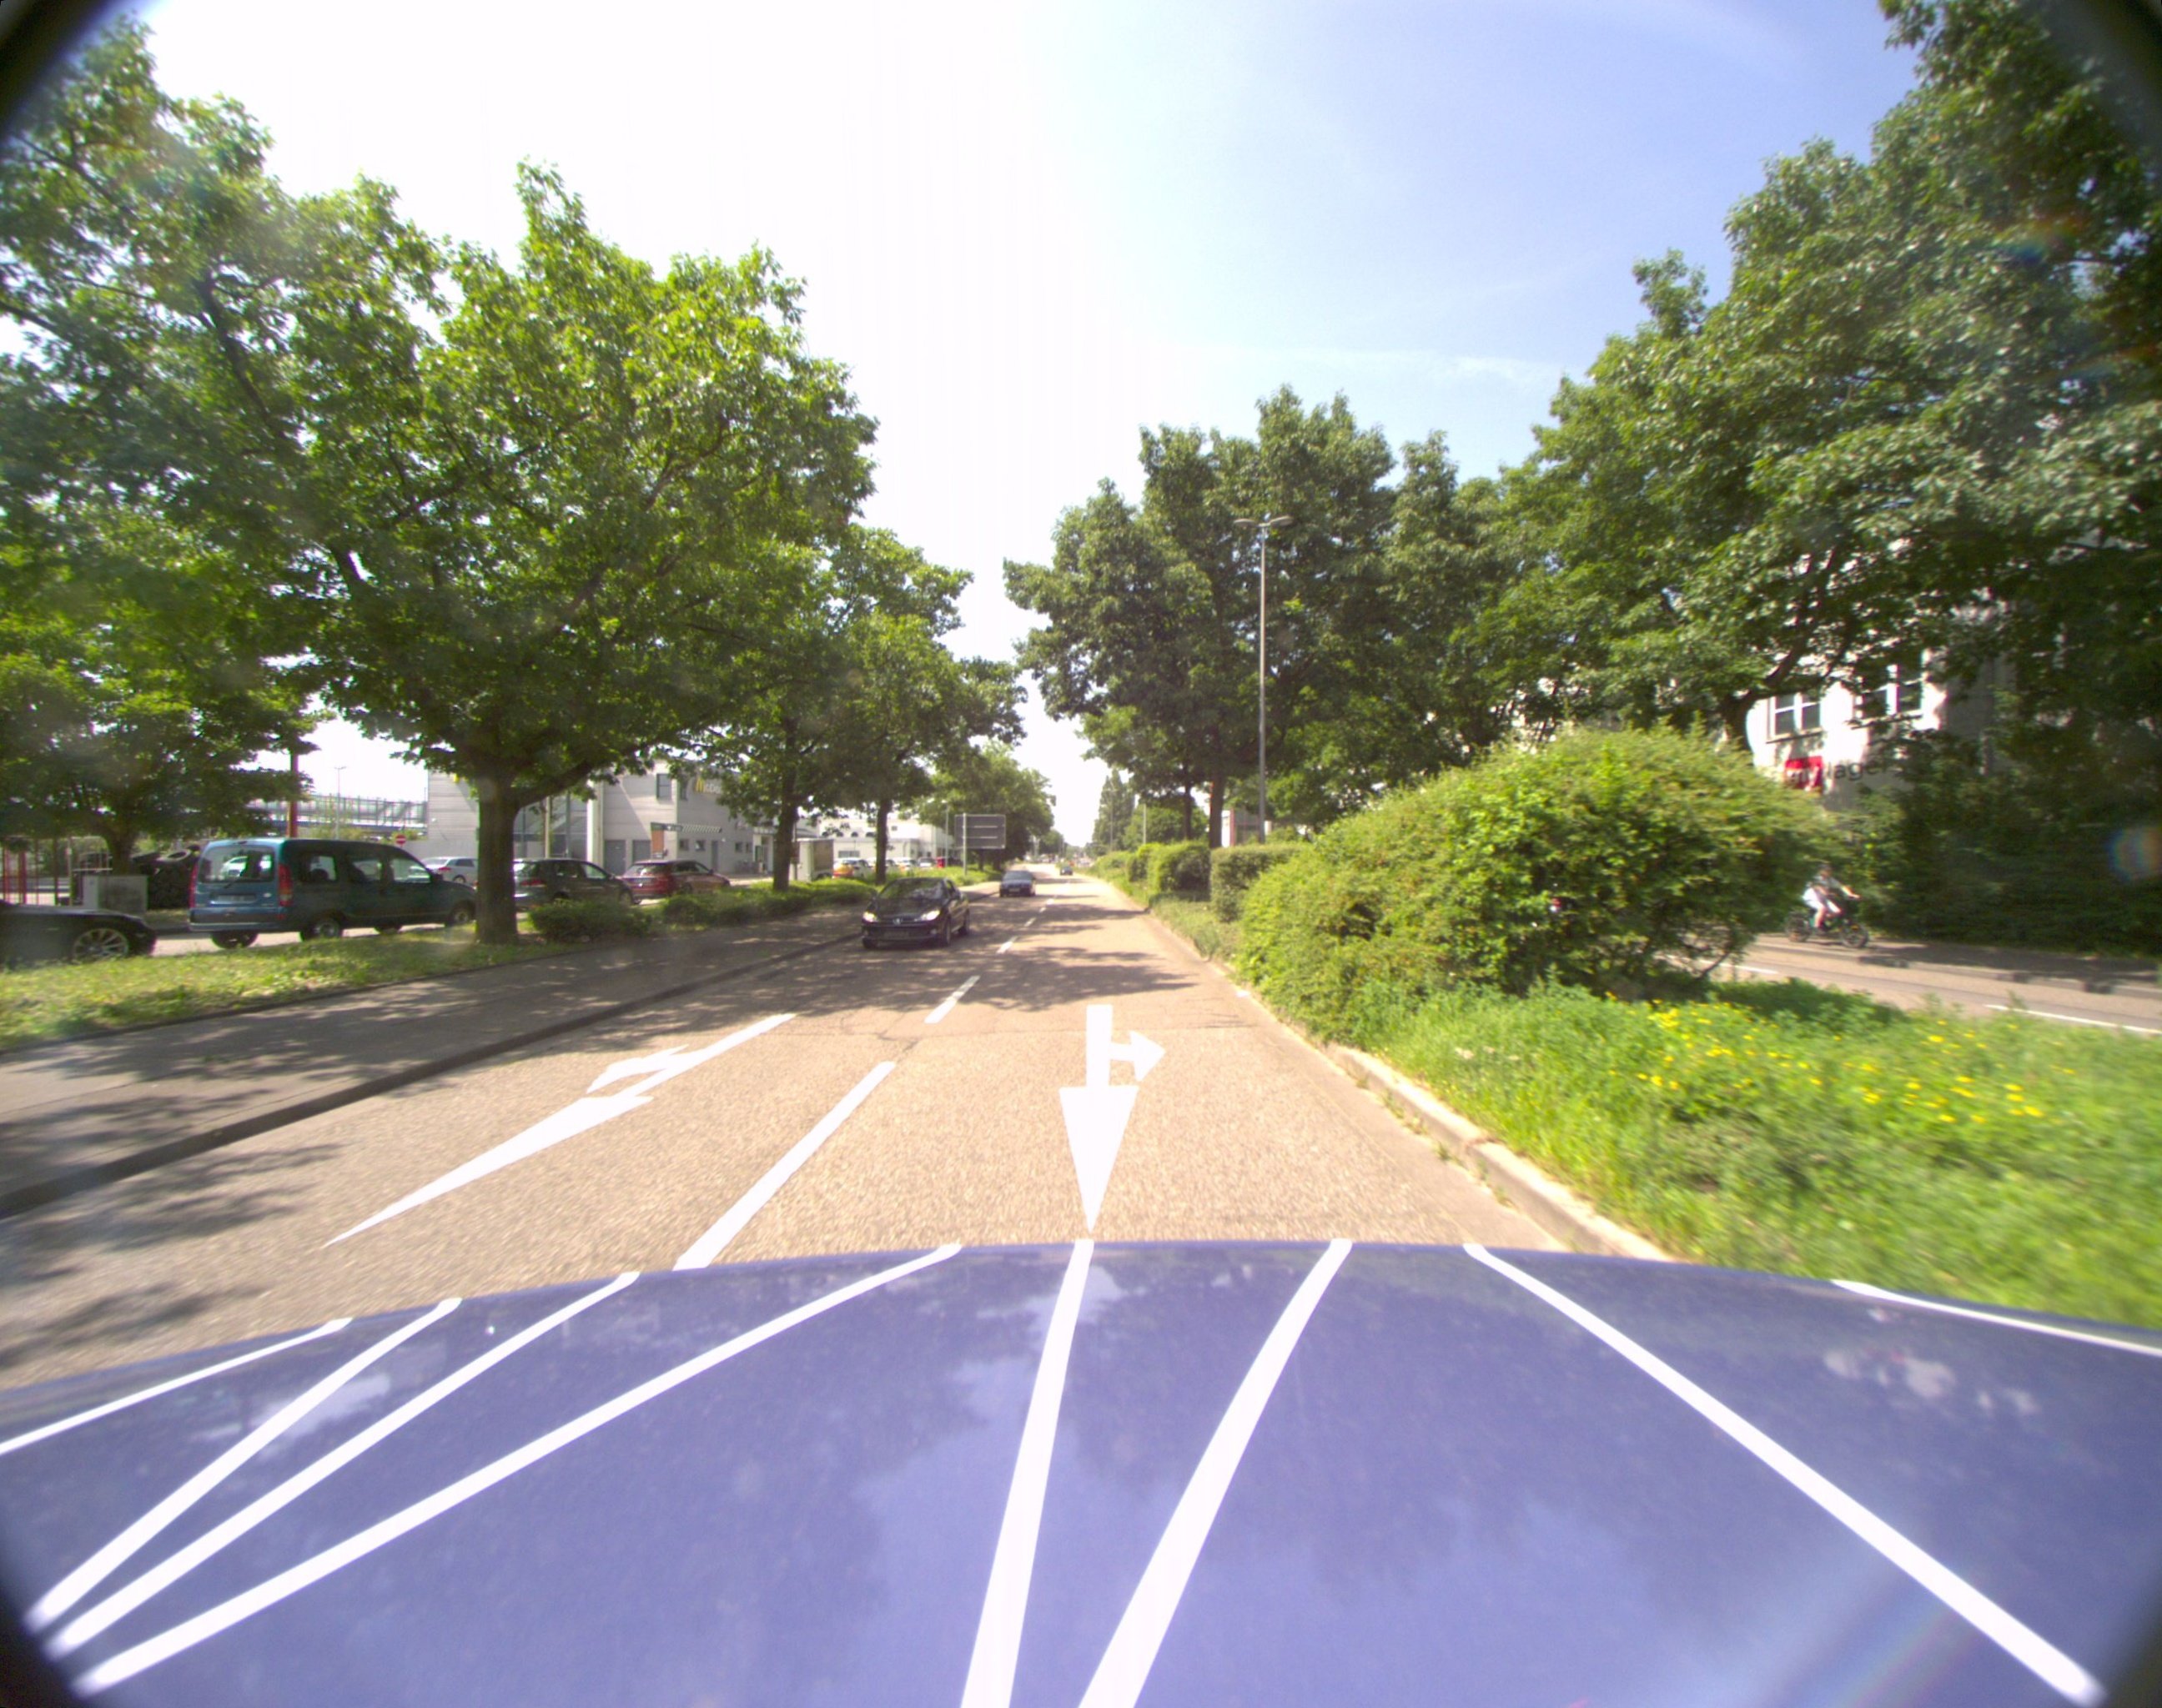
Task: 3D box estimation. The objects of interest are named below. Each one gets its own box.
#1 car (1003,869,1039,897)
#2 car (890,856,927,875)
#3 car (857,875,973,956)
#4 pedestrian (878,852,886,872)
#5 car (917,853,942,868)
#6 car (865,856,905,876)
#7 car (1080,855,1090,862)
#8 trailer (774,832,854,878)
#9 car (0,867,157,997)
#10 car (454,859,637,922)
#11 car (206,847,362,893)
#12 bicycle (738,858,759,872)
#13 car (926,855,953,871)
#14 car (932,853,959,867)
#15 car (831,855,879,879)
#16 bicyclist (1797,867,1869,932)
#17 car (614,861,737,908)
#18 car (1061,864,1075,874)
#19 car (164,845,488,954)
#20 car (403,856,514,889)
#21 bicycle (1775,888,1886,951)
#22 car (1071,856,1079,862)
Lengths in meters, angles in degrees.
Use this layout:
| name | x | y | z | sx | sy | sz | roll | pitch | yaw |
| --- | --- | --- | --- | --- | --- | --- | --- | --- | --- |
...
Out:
| name | x | y | z | sx | sy | sz | roll | pitch | yaw |
| --- | --- | --- | --- | --- | --- | --- | --- | --- | --- |
| car | -3.198 | 1.469 | 39.853 | 1.712 | 1.316 | 3.953 | -1 | 0 | -7 |
| car | -12.772 | 0.827 | 56.451 | 1.622 | 1.245 | 3.867 | -1 | 1 | 4 |
| car | -3.328 | 1.194 | 15.864 | 1.641 | 1.349 | 3.499 | -1 | 1 | 0 |
| pedestrian | -18.985 | 0.723 | 72.520 | 0.583 | 1.910 | 0.409 | 1 | 0 | 0 |
| car | -12.402 | 0.529 | 62.156 | 1.511 | 1.116 | 2.855 | -1 | 1 | -1 |
| car | -12.479 | 0.725 | 48.555 | 1.597 | 1.151 | 3.737 | -1 | 1 | 0 |
| car | 0.740 | 0.869 | 148.507 | 1.632 | 1.368 | 3.882 | 2 | 0 | -3 |
| trailer | -12.851 | 0.069 | 36.983 | 1.704 | 2.043 | 5.485 | 0 | 0 | 3 |
| car | -12.991 | 0.906 | 7.563 | 1.704 | 1.416 | 4.655 | 0 | 0 | 4 |
| car | -12.912 | 0.810 | 18.649 | 1.705 | 1.372 | 3.905 | 0 | 0 | 0 |
| car | -33.300 | 0.622 | 31.971 | 1.714 | 1.795 | 4.631 | 0 | 0 | 0 |
| bicycle | -25.051 | 0.823 | 57.225 | 0.590 | 0.974 | 2.102 | 1 | 0 | 2 |
| car | -12.284 | 0.765 | 66.144 | 1.623 | 1.245 | 3.763 | -1 | 1 | 0 |
| car | -12.699 | 0.548 | 71.352 | 1.623 | 1.245 | 4.199 | -2 | 1 | 1 |
| car | -12.513 | 0.696 | 42.276 | 1.623 | 1.245 | 3.630 | -1 | 1 | -1 |
| bicyclist | 15.188 | 0.910 | 15.364 | 0.646 | 1.246 | 0.813 | -1 | 1 | 0 |
| car | -13.131 | 0.927 | 24.911 | 1.705 | 1.372 | 4.324 | 0 | 0 | 0 |
| car | -1.860 | 2.064 | 106.928 | 1.868 | 1.390 | 3.999 | 1 | 0 | -3 |
| car | -12.927 | 0.672 | 13.422 | 1.704 | 1.628 | 3.905 | 0 | 1 | 2 |
| car | -26.372 | 0.744 | 32.372 | 1.587 | 1.331 | 3.777 | 0 | 0 | 1 |
| bicycle | 15.189 | 1.301 | 15.454 | 0.522 | 1.113 | 1.761 | -1 | 1 | 0 |
| car | -1.554 | 1.277 | 185.057 | 1.734 | 1.316 | 4.147 | 1 | 0 | -4 |
